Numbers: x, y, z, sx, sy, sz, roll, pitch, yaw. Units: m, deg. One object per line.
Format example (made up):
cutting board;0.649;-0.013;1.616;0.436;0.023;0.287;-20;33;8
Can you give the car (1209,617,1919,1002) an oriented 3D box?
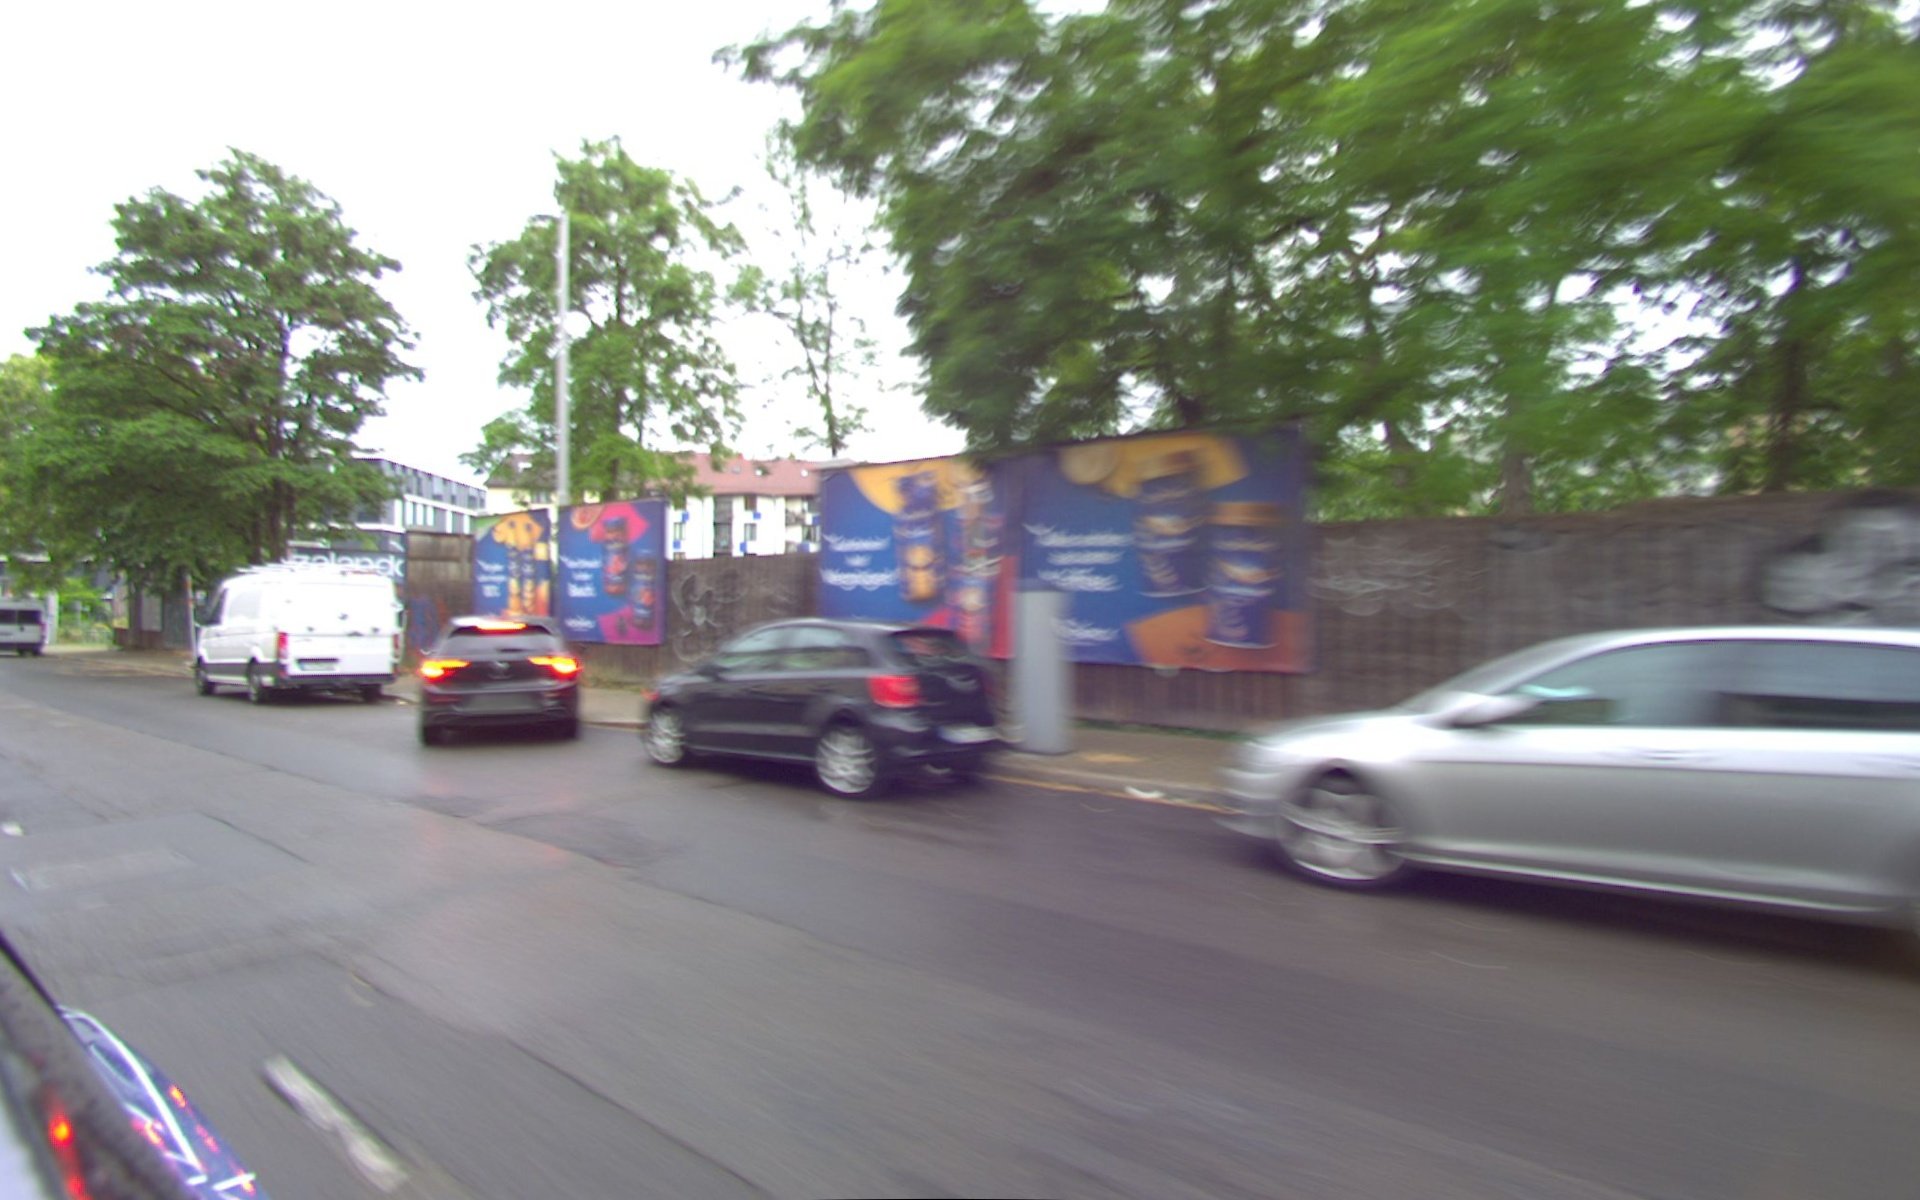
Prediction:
car;3.588;0.838;5.062;4.273;1.474;1.665;-1;-2;40

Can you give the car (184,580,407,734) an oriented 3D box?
car;-12.750;1.039;19.221;5.980;2.506;1.991;-2;-3;41

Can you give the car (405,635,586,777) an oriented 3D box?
car;-5.759;1.200;12.999;1.780;1.426;4.398;0;-1;-20

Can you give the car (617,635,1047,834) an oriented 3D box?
car;-1.286;1.031;9.183;3.907;1.409;1.665;-1;-2;40

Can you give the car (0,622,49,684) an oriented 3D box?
car;-42.398;2.331;44.699;6.531;2.599;2.208;-2;-4;40
